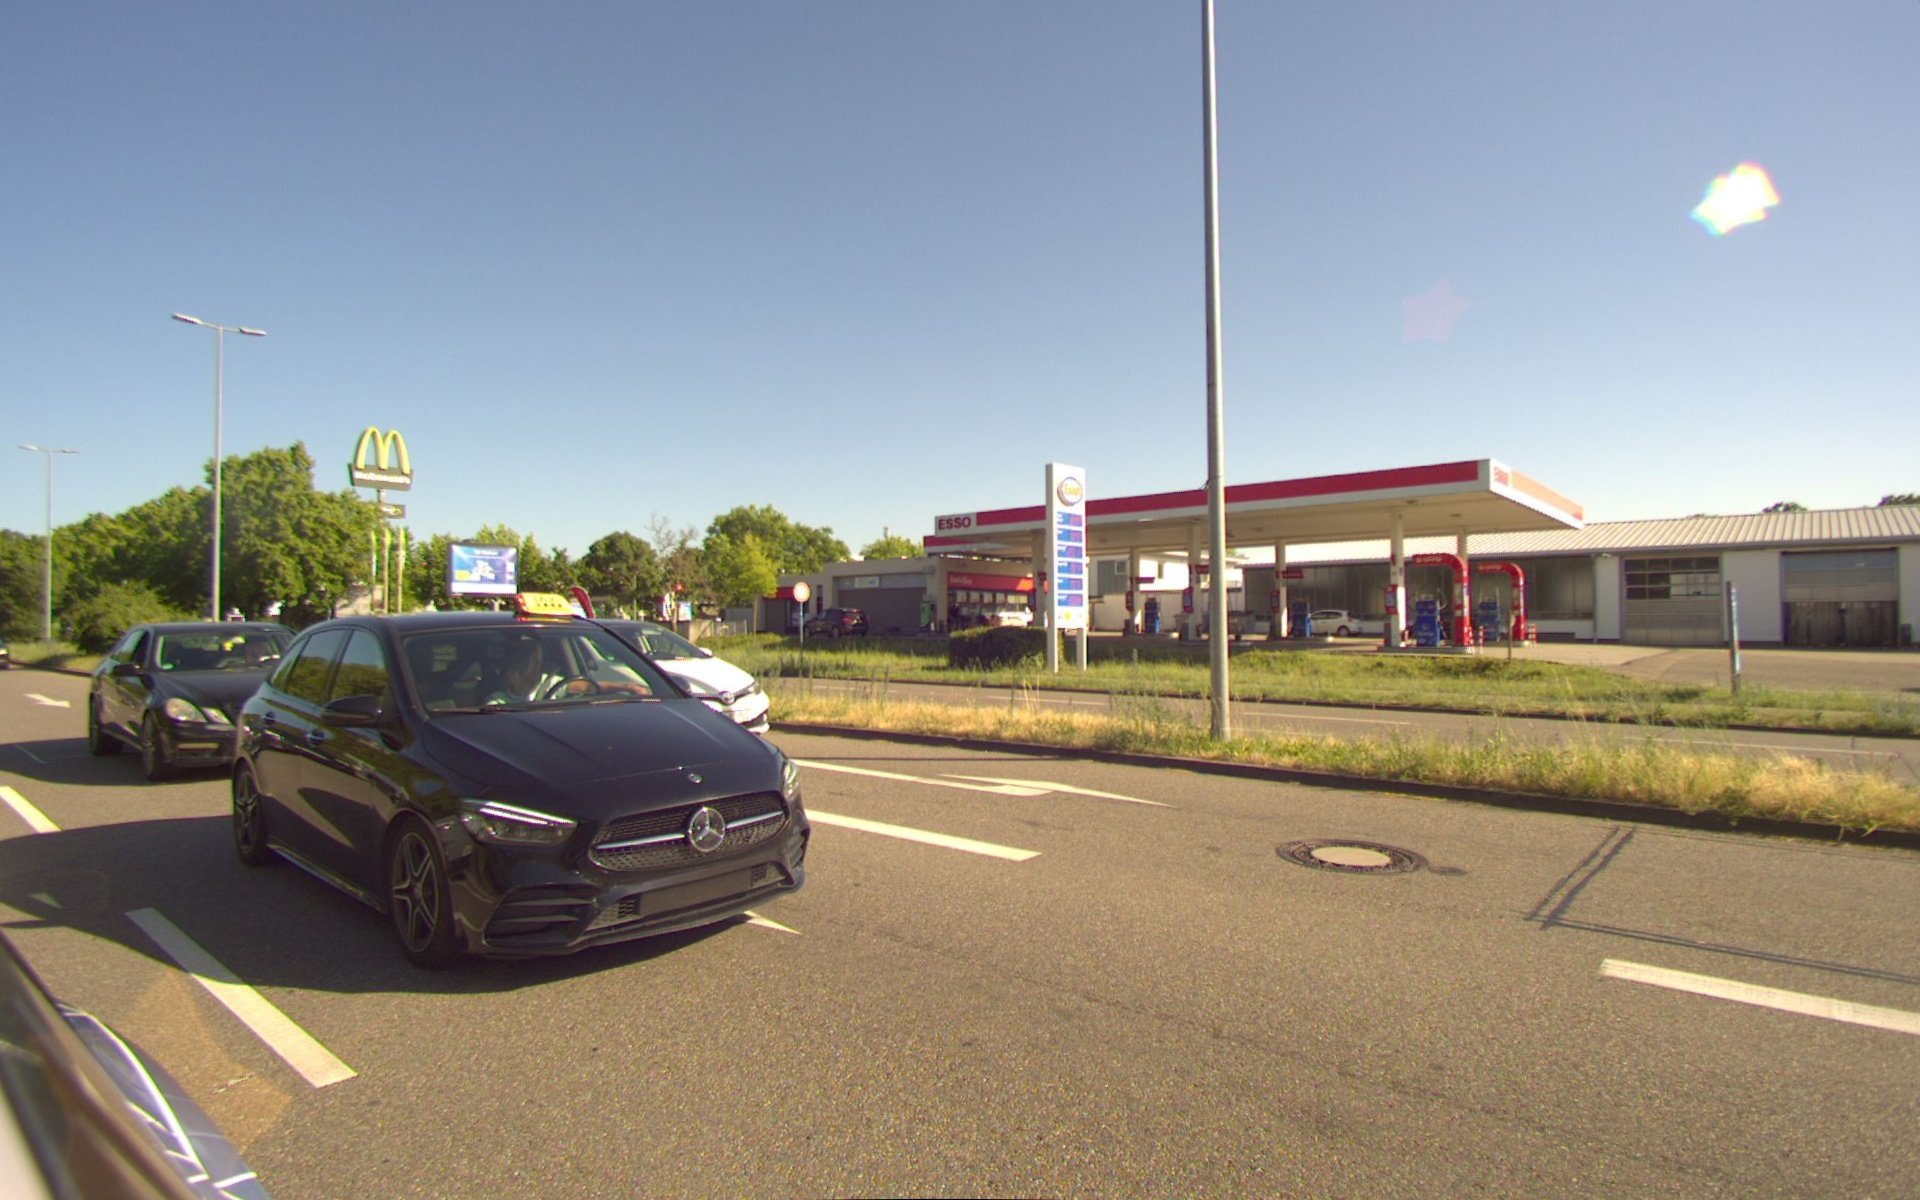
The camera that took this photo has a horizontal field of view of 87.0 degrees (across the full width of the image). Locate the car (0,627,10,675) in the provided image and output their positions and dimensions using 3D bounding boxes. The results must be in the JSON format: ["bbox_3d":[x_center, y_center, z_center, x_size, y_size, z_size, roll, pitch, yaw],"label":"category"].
[{"bbox_3d":[-32.025,1.632,32.476,4.401,1.492,1.838,-2,-2,41],"label":"car"}]

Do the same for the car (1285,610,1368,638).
[{"bbox_3d":[19.853,1.319,54.868,3.844,1.450,1.730,-2,-2,39],"label":"car"}]

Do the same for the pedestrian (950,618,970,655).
[{"bbox_3d":[-0.006,1.985,55.497,0.840,2.029,0.694,-2,-2,41],"label":"pedestrian"}]

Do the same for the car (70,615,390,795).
[{"bbox_3d":[-7.907,0.950,10.799,4.401,1.535,1.838,-2,-2,41],"label":"car"}]

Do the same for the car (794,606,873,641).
[{"bbox_3d":[-6.731,1.274,53.717,4.117,1.783,1.972,-2,-2,43],"label":"car"}]

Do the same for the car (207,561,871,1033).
[{"bbox_3d":[-2.573,0.737,5.603,4.187,1.638,1.780,-2,-2,42],"label":"car"}]

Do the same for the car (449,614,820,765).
[{"bbox_3d":[-3.856,0.907,11.699,4.393,1.440,1.841,-1,-2,35],"label":"car"}]
